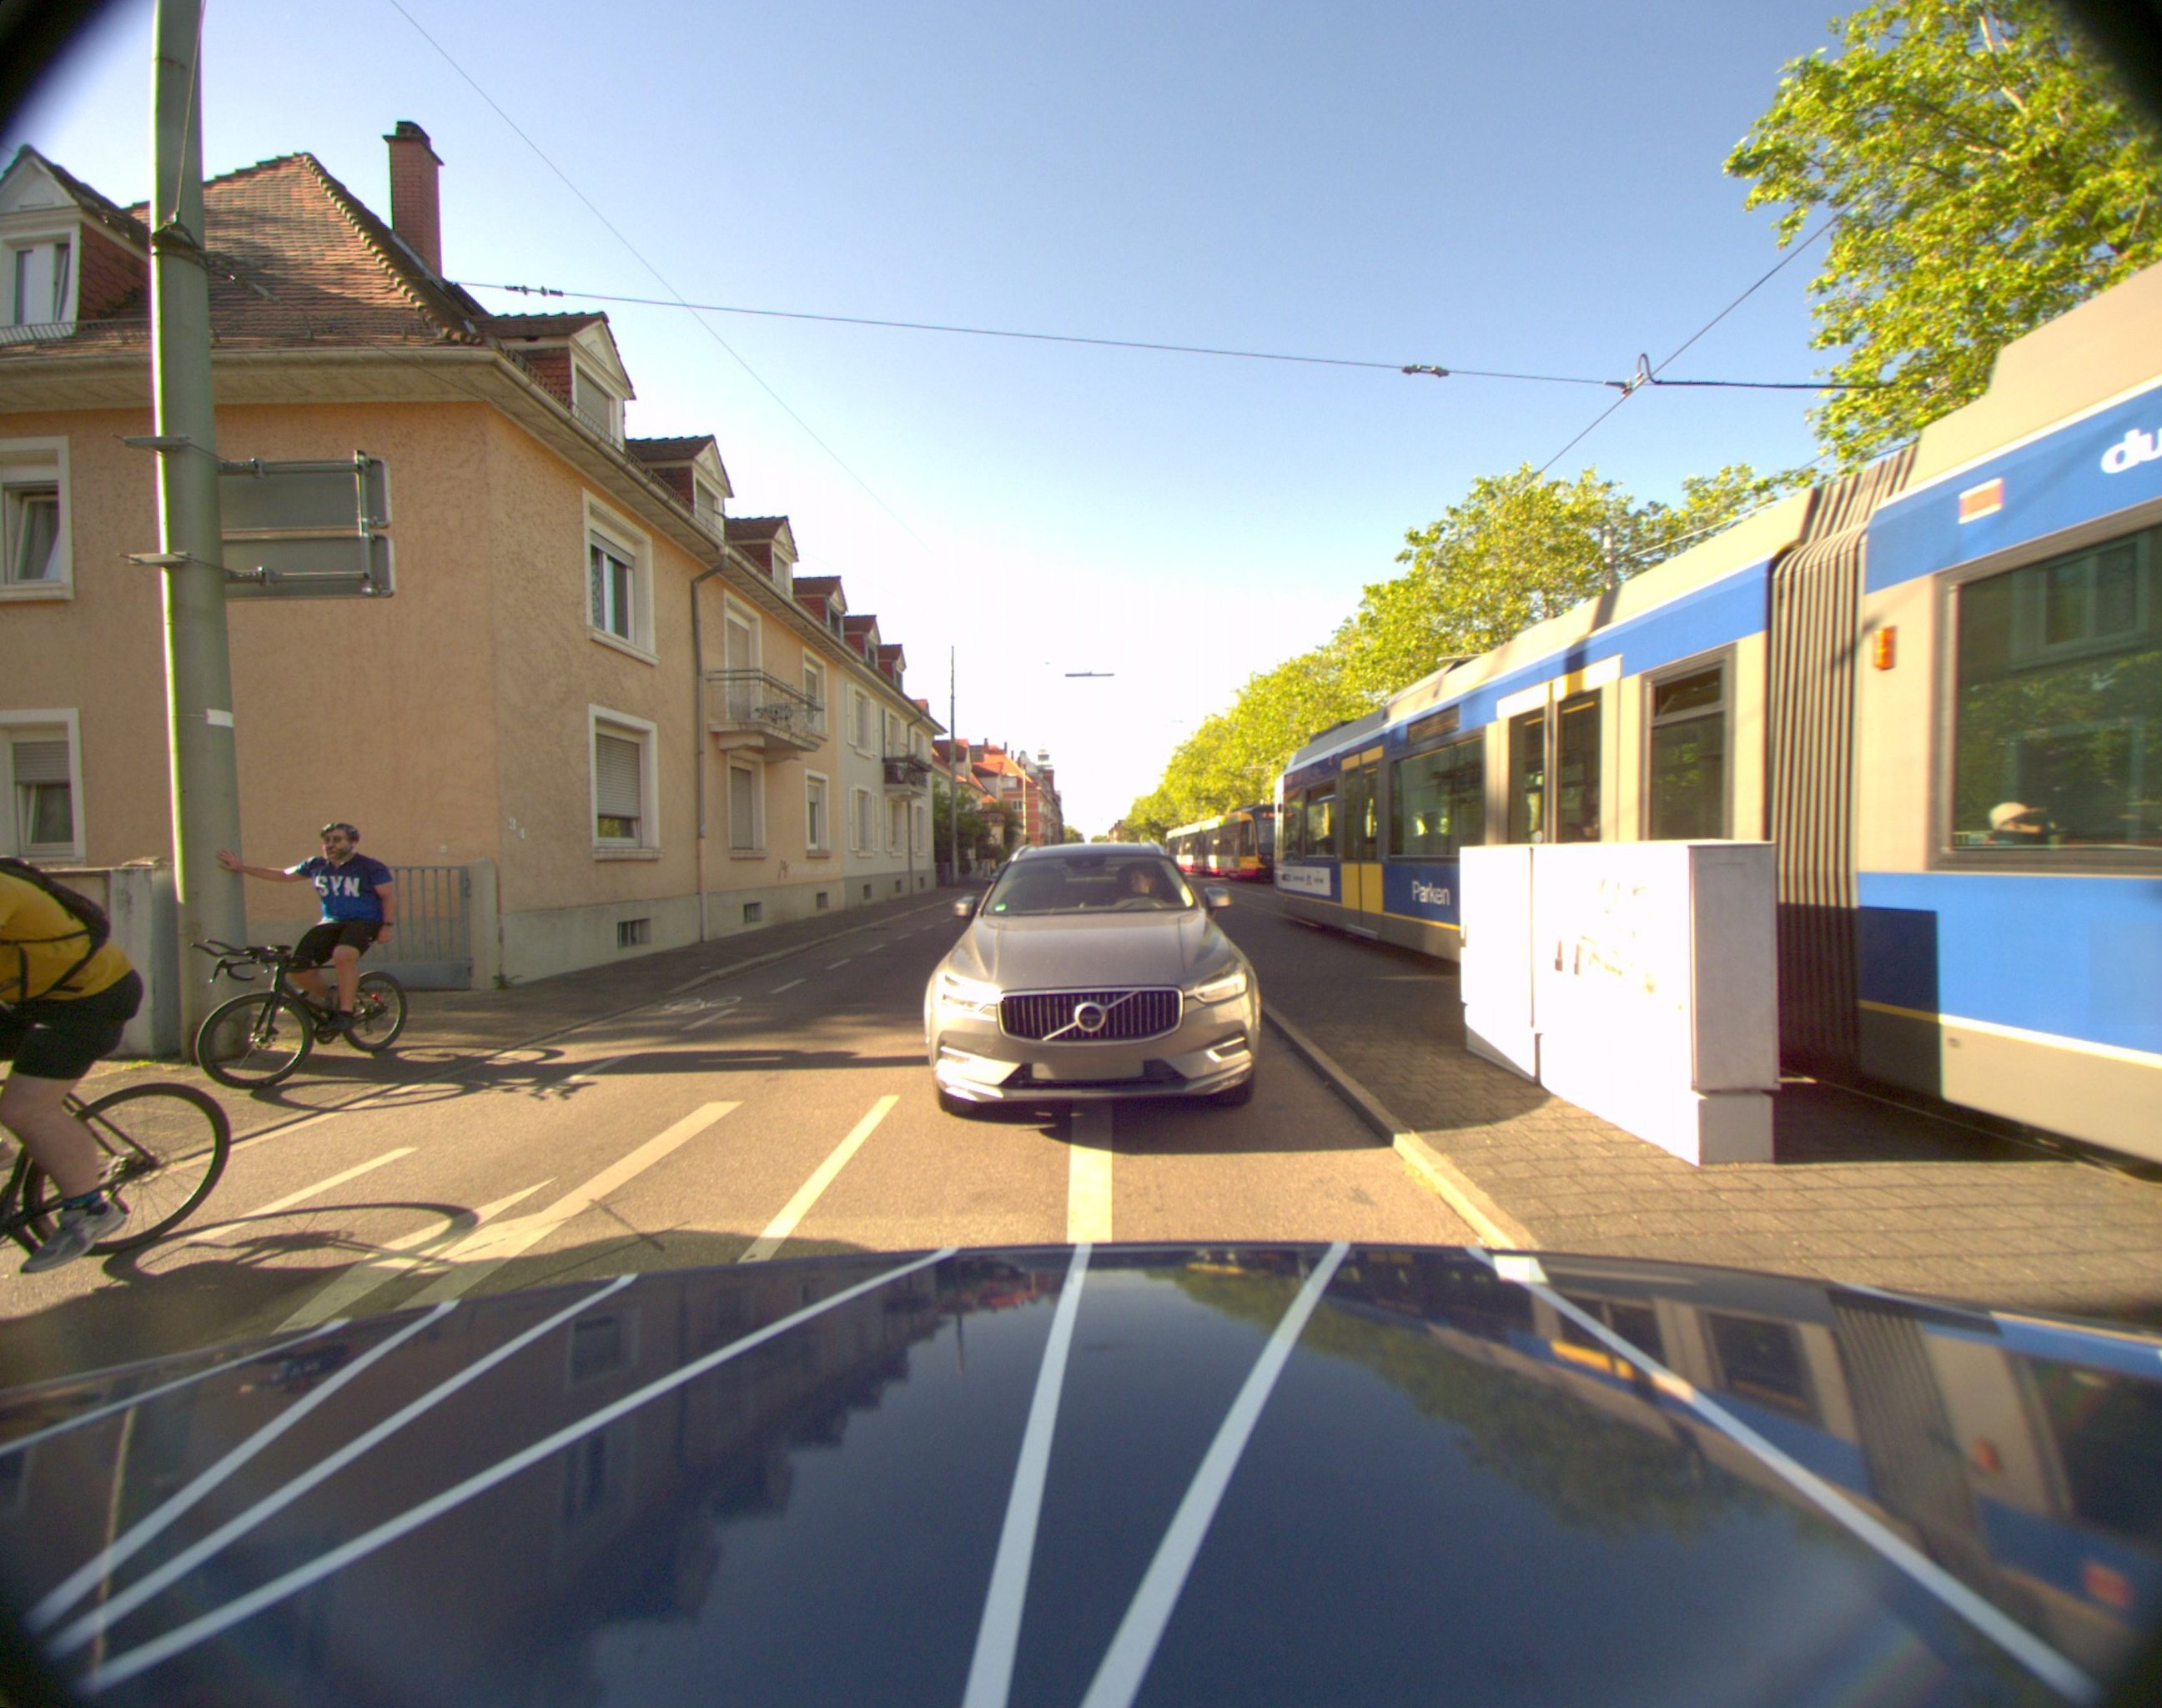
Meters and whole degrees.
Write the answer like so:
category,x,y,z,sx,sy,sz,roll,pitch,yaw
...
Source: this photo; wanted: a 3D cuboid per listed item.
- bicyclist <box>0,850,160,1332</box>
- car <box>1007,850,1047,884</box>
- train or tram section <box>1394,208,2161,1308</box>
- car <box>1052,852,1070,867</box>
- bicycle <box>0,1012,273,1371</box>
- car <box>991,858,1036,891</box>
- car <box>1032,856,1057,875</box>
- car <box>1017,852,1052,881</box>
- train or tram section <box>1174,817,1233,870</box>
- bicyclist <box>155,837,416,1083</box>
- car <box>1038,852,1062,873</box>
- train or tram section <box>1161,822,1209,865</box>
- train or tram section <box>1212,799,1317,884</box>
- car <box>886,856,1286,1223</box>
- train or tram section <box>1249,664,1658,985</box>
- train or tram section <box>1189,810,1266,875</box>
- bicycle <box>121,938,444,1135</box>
category,x,y,z,sx,sy,sz,roll,pitch,yaw
bicyclist,-4.148,0.848,2.675,0.582,1.712,0.955,-1,1,1
car,-2.956,0.695,42.360,1.847,1.742,4.144,-1,0,0
train or tram section,4.860,-0.318,4.201,2.821,3.479,8.462,-1,0,1
car,-2.233,0.565,85.506,1.999,1.641,4.658,-1,0,-1
bicycle,-4.149,1.297,2.683,0.611,1.081,1.809,-1,0,1
car,-3.222,0.955,36.998,1.847,1.412,3.999,-1,0,-1
car,-2.870,0.872,60.428,1.808,1.402,3.999,-1,0,-1
car,-2.802,0.714,46.695,1.847,1.681,4.000,-1,0,0
train or tram section,8.966,-0.770,56.970,2.843,3.456,10.182,-2,1,1
bicyclist,-6.168,0.770,5.959,1.071,1.728,0.853,4,1,1
car,-2.666,0.707,65.791,1.847,1.681,4.000,-1,0,0
train or tram section,9.048,-0.924,67.181,2.843,3.456,10.182,-2,1,1
train or tram section,8.516,-0.577,36.717,2.862,3.456,10.183,-2,1,2
car,0.006,0.893,5.809,1.892,1.695,4.318,-1,0,-1
train or tram section,4.994,-0.322,12.365,2.821,3.479,7.962,-1,0,1
train or tram section,8.759,-0.674,46.904,2.843,3.456,10.182,-2,1,1
bicycle,-5.928,1.285,5.809,0.594,1.045,1.719,4,1,1
